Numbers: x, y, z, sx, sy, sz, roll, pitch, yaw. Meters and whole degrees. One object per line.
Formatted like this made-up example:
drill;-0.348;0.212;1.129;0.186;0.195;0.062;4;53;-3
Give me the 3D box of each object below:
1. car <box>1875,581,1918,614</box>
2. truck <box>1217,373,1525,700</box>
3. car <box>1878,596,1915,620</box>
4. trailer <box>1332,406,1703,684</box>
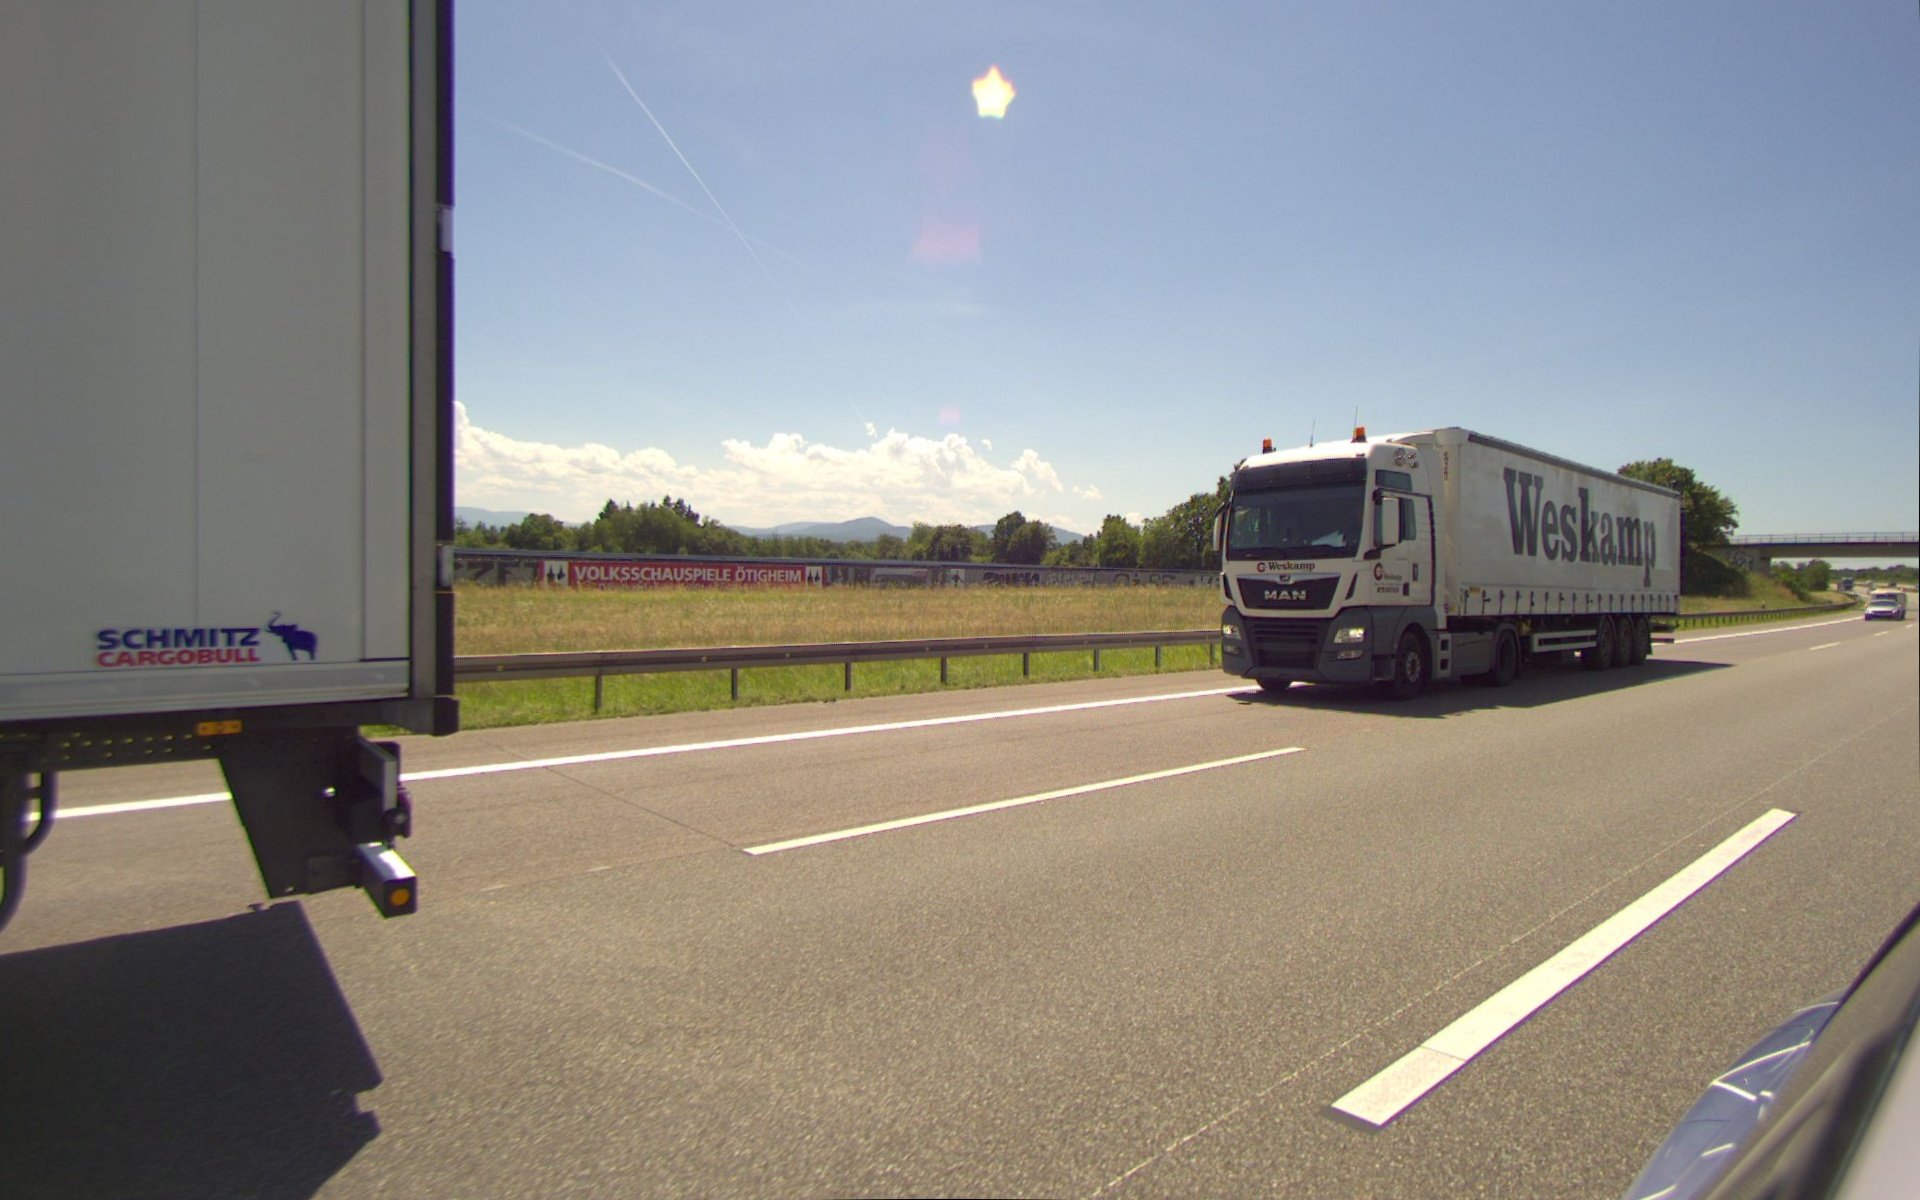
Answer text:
car;68.430;-0.239;73.965;2.182;2.294;4.875;2;2;43
truck;6.593;-0.858;15.977;5.001;4.310;2.604;0;0;-42
car;64.053;0.549;69.199;1.779;1.494;3.938;2;2;43
trailer;12.295;-0.868;21.149;13.406;4.305;2.599;0;0;-42
